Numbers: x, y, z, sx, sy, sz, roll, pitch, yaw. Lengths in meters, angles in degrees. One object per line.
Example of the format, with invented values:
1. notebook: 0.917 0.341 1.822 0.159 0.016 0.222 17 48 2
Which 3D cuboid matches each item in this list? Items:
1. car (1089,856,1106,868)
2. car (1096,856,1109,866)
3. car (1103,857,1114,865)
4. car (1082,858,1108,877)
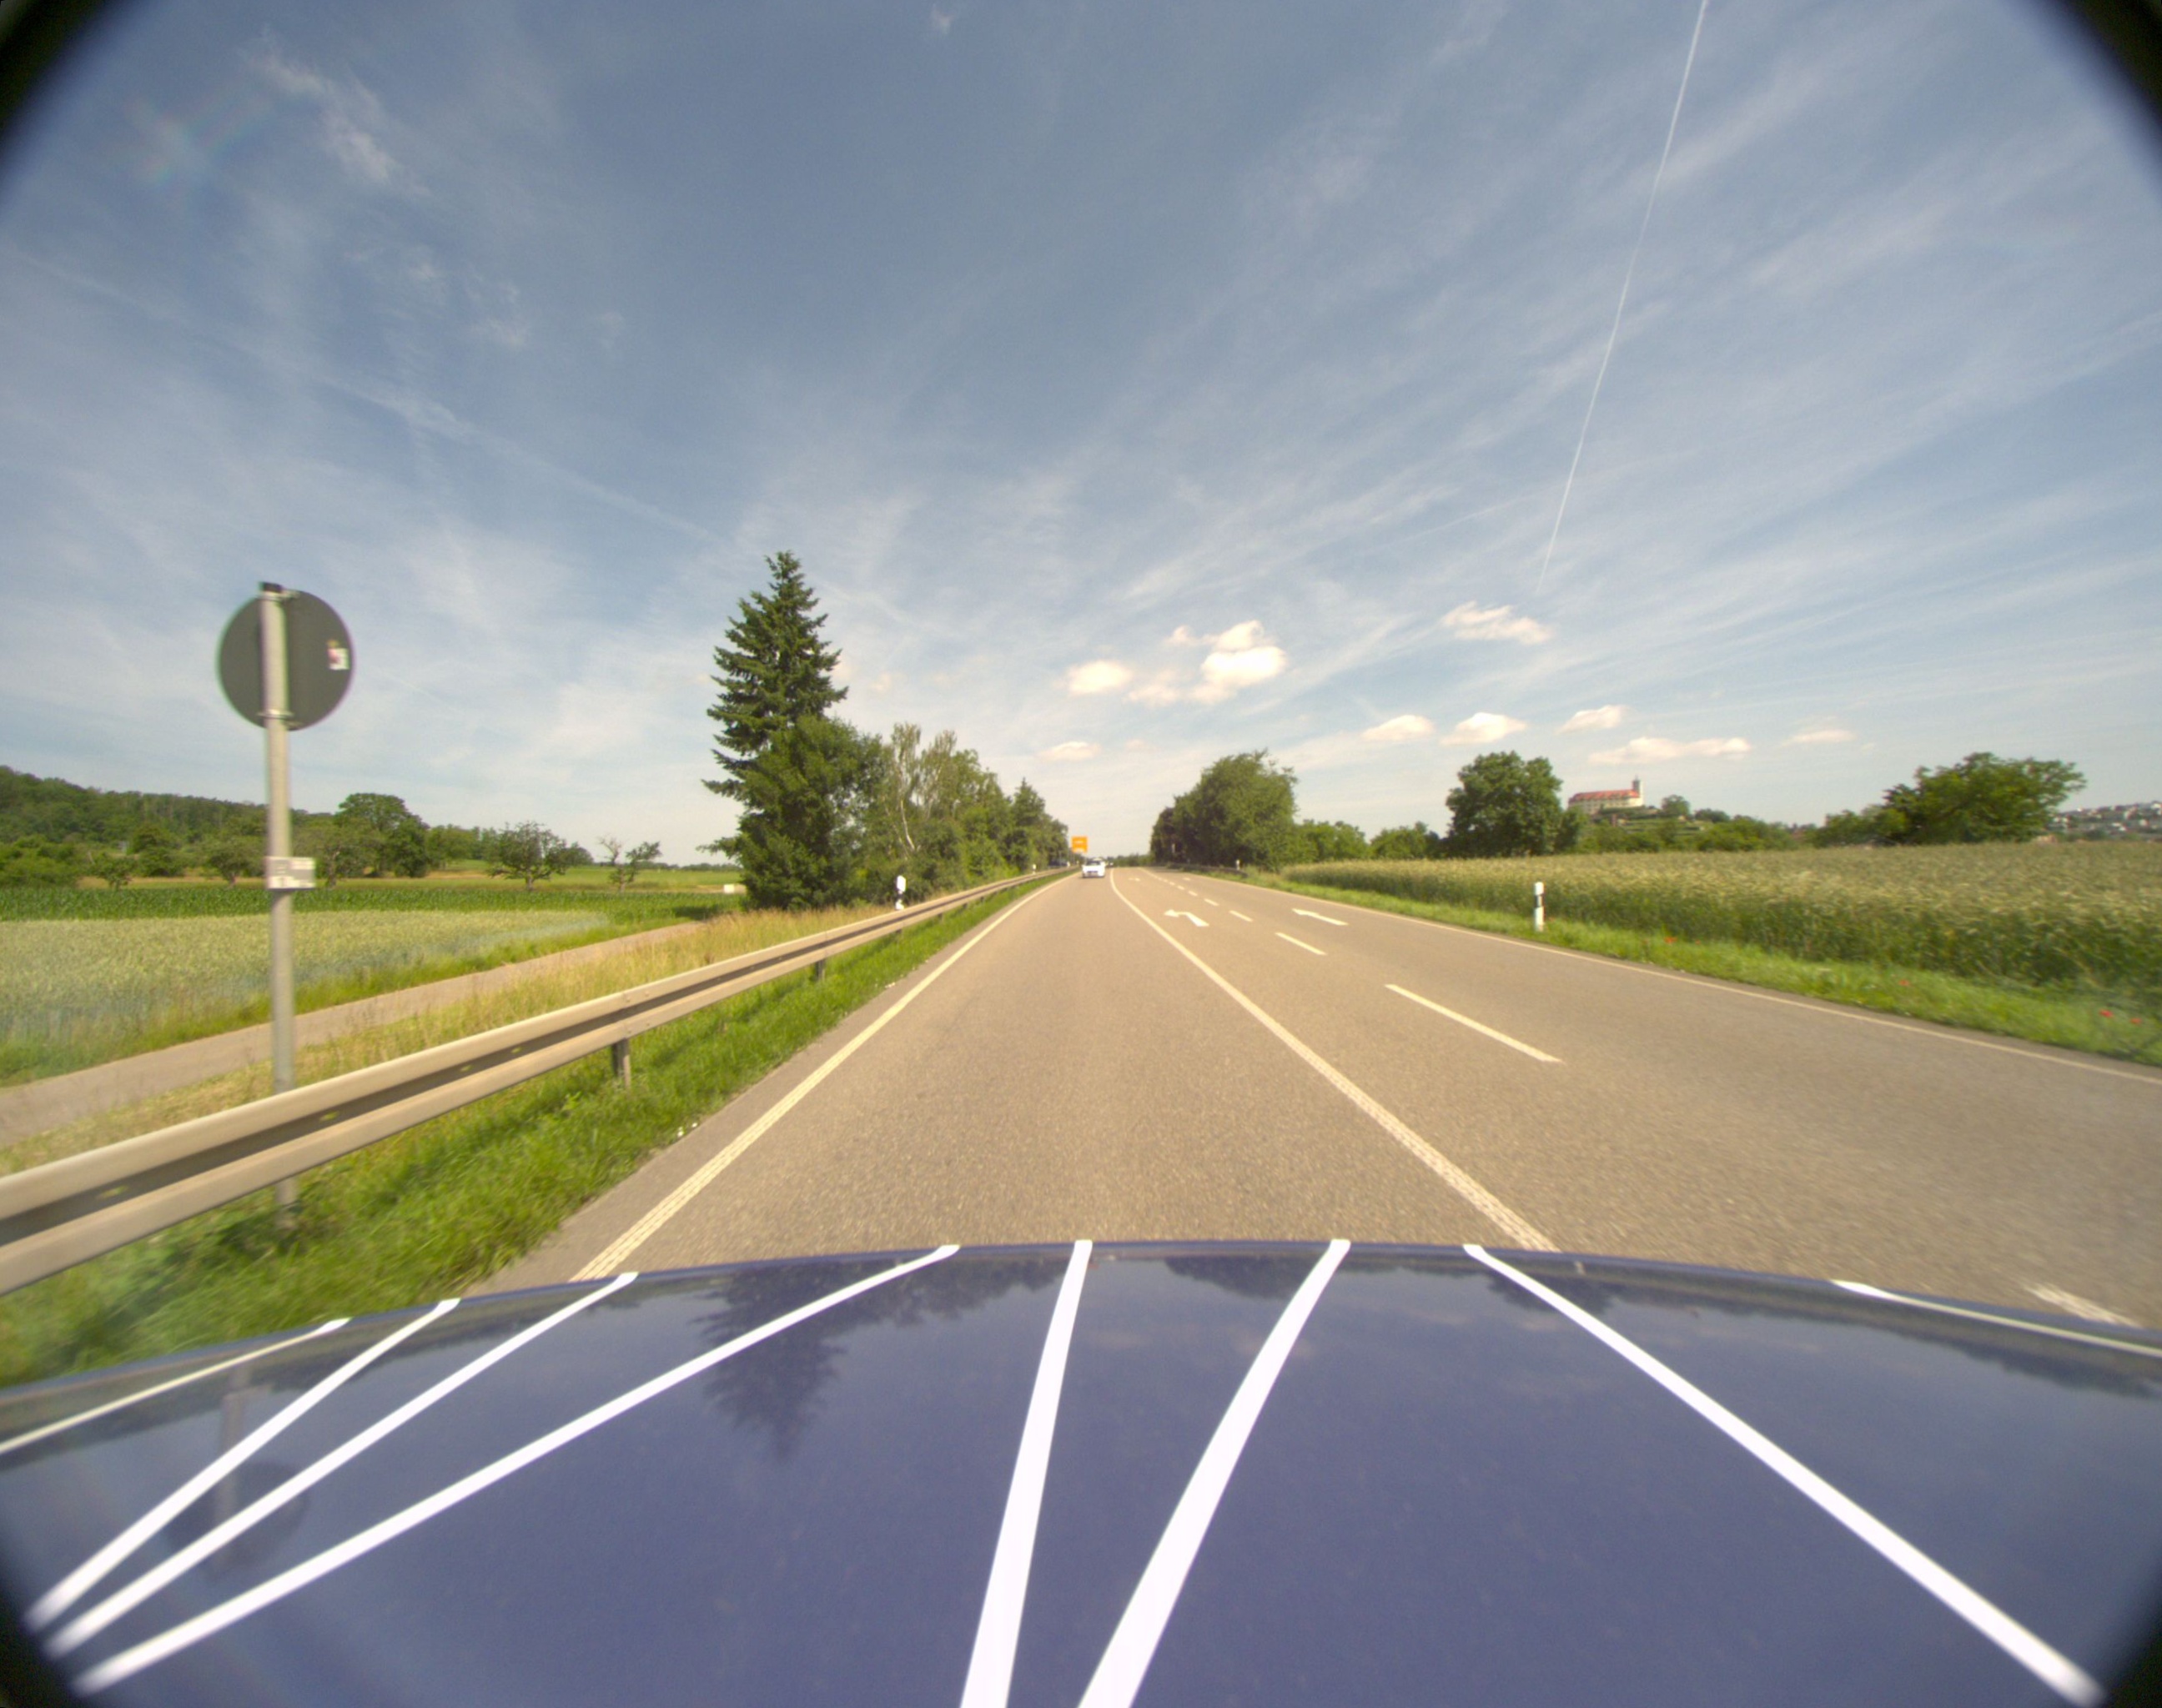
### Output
1. car: 2.111 0.980 94.715 1.929 1.441 4.001 -1 0 3
2. car: 3.334 1.115 118.377 1.929 1.441 4.078 -1 -1 2
3. car: 5.088 1.318 142.730 1.929 1.441 4.001 -1 -1 1
4. car: 1.125 1.072 62.081 1.929 1.441 4.535 -2 0 1
